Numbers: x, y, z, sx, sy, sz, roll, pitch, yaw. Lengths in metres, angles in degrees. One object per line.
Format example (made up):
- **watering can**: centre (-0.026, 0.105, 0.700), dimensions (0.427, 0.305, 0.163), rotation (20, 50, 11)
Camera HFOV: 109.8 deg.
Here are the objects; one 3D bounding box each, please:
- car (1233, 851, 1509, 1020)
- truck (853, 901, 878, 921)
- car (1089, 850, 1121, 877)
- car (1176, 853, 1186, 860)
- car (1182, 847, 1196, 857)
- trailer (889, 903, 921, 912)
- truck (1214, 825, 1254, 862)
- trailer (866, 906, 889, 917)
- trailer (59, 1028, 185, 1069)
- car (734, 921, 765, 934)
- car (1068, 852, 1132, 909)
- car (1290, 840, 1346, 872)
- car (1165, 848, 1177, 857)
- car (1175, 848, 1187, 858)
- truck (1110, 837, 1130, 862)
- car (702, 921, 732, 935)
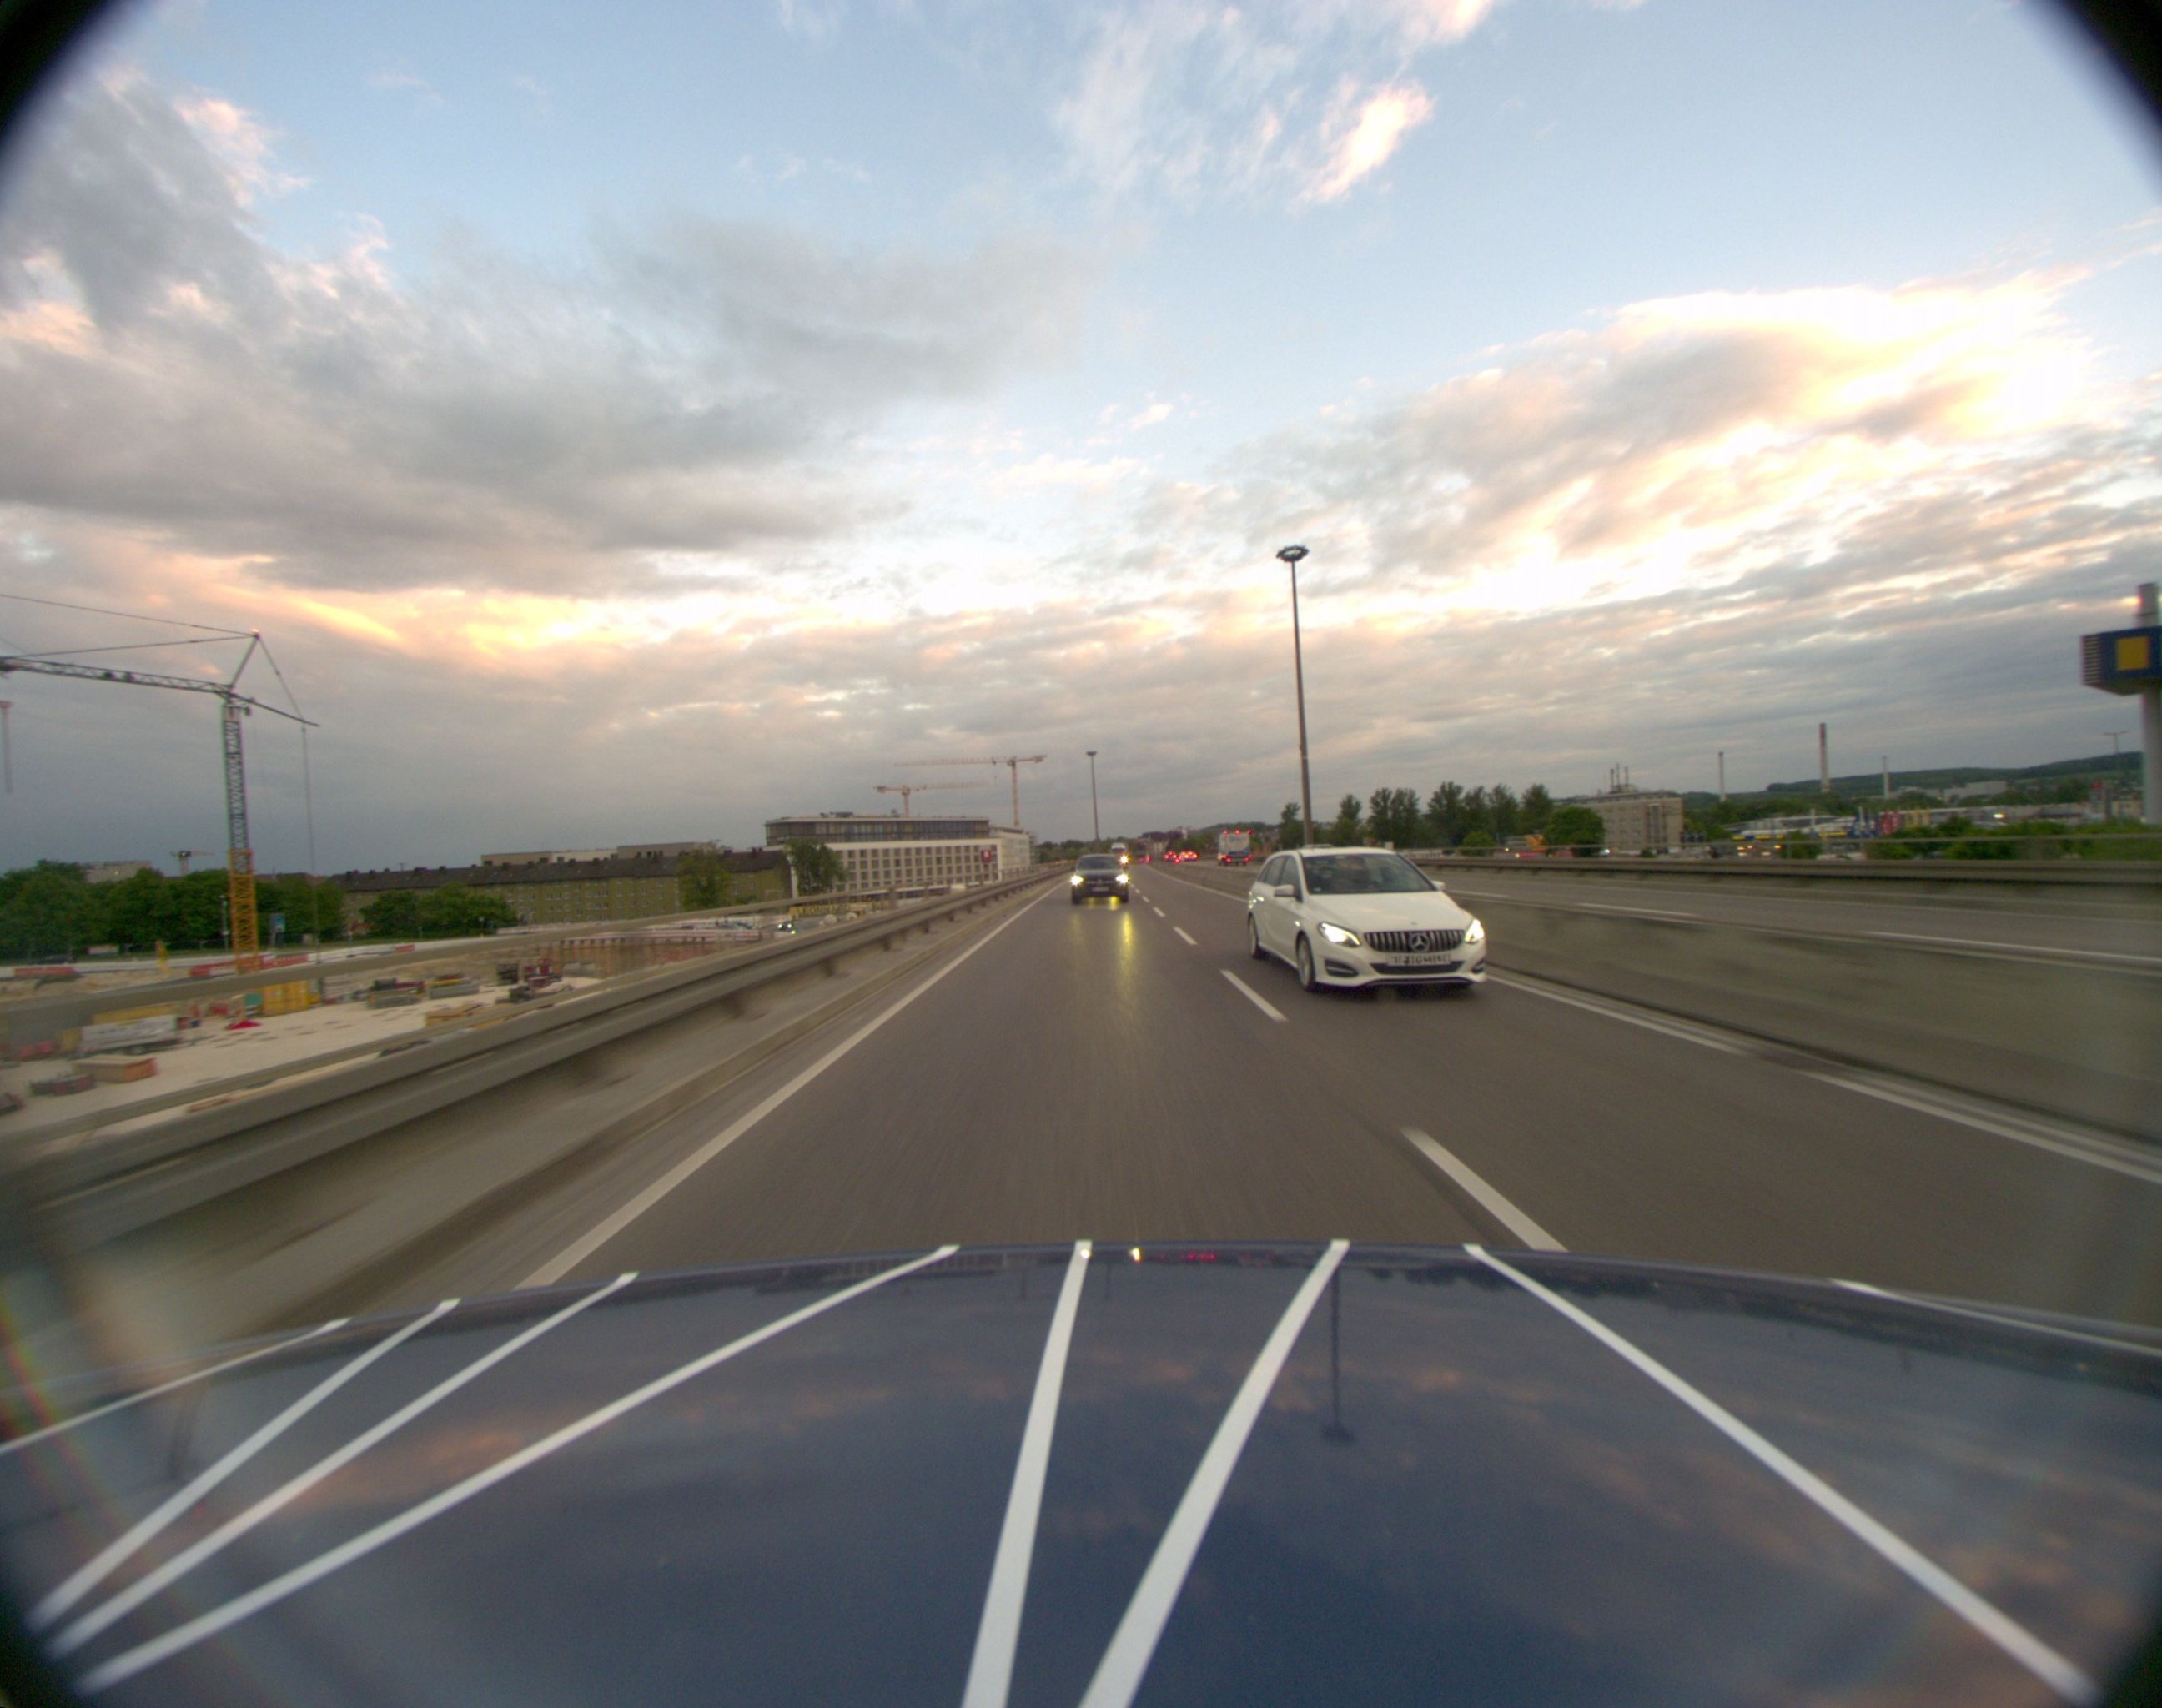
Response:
- **car**: centre (3.212, 0.797, 9.555), dimensions (1.695, 1.528, 4.784), rotation (-2, -1, 1)
- **truck**: centre (-37.601, 9.922, 132.957), dimensions (2.163, 2.930, 7.337), rotation (-5, -1, -1)
- **car**: centre (1.556, 0.632, 49.100), dimensions (1.891, 1.641, 4.345), rotation (-3, -1, 1)
- **car**: centre (24.297, 0.591, 184.742), dimensions (1.832, 1.465, 4.902), rotation (-2, -1, 2)
- **car**: centre (18.072, -0.314, 127.220), dimensions (1.835, 1.494, 4.817), rotation (-2, 0, 4)
- **trailer**: centre (-33.760, 10.307, 145.842), dimensions (5.875, 1.340, 2.024), rotation (-2, 1, -15)
- **truck**: centre (14.678, -0.977, 73.426), dimensions (2.540, 3.277, 7.447), rotation (-2, 0, 3)
- **trailer**: centre (-37.633, 10.647, 140.699), dimensions (1.998, 1.339, 5.875), rotation (-8, -1, 4)
- **trailer**: centre (-55.697, 11.268, 44.227), dimensions (1.780, 1.233, 4.259), rotation (-5, -1, 29)
- **car**: centre (-52.528, 11.641, 120.473), dimensions (4.095, 1.710, 1.804), rotation (-2, 3, 13)
- **car**: centre (0.680, 0.775, 24.211), dimensions (1.823, 1.602, 4.214), rotation (-2, 0, 3)
- **car**: centre (13.324, 0.085, 42.971), dimensions (1.981, 1.596, 4.442), rotation (-2, 0, 4)
- **car**: centre (14.815, -0.200, 125.833), dimensions (1.633, 1.432, 3.837), rotation (-2, -1, 2)
- **car**: centre (21.073, -0.254, 160.579), dimensions (1.905, 1.889, 5.460), rotation (-2, 0, 3)
- **truck**: centre (7.237, -0.848, 139.696), dimensions (3.164, 4.369, 8.796), rotation (-2, 0, 5)
- **car**: centre (-55.419, 11.264, 115.672), dimensions (3.787, 1.729, 1.647), rotation (-4, 1, 17)
